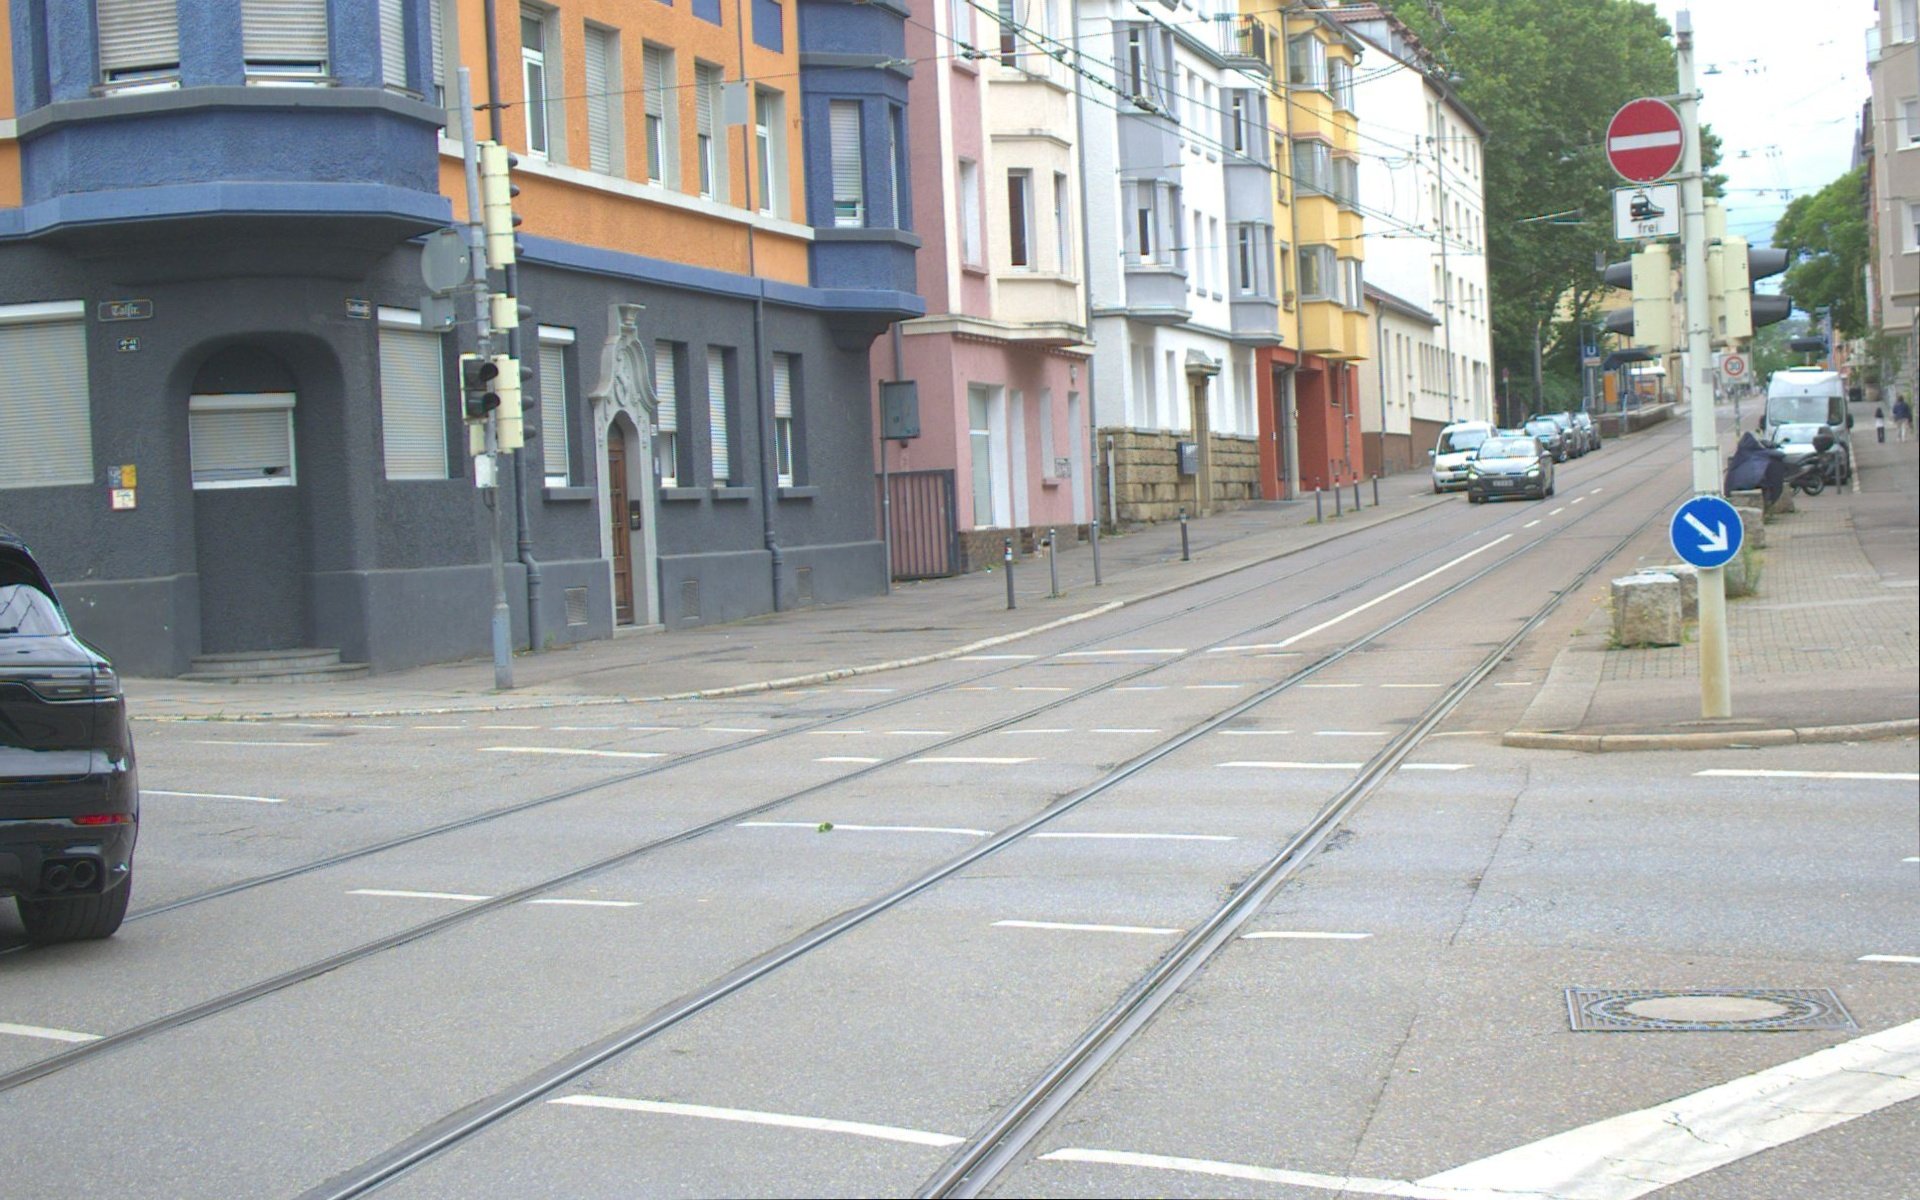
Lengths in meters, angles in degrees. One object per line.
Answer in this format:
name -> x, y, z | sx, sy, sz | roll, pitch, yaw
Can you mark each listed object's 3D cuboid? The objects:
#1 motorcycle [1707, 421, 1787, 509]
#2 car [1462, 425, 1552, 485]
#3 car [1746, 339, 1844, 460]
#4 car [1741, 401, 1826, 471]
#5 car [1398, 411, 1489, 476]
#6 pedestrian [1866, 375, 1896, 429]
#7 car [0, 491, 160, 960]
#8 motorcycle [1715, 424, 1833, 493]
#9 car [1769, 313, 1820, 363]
motorcycle -> 13.118, -2.259, 57.386 | 0.860, 1.322, 2.184 | -7, 2, 5
car -> 12.585, -3.342, 78.974 | 1.687, 1.322, 3.660 | 0, 3, 15
car -> 20.839, -4.962, 85.656 | 2.269, 2.880, 4.766 | 0, 3, 15
car -> 19.194, -3.817, 80.053 | 1.841, 1.563, 3.817 | 0, 3, 15
car -> 13.177, -4.257, 93.565 | 1.995, 1.686, 3.998 | 0, 3, 15
pedestrian -> 28.784, -6.185, 107.442 | 0.681, 1.626, 0.672 | -1, -1, 37
car -> -4.747, 0.395, 13.695 | 2.024, 1.636, 4.357 | -1, 2, -27
motorcycle -> 16.001, -2.788, 67.595 | 2.177, 1.322, 0.699 | -1, 2, 5
car -> 39.914, -12.501, 164.274 | 2.269, 2.176, 4.766 | 0, 3, 15
